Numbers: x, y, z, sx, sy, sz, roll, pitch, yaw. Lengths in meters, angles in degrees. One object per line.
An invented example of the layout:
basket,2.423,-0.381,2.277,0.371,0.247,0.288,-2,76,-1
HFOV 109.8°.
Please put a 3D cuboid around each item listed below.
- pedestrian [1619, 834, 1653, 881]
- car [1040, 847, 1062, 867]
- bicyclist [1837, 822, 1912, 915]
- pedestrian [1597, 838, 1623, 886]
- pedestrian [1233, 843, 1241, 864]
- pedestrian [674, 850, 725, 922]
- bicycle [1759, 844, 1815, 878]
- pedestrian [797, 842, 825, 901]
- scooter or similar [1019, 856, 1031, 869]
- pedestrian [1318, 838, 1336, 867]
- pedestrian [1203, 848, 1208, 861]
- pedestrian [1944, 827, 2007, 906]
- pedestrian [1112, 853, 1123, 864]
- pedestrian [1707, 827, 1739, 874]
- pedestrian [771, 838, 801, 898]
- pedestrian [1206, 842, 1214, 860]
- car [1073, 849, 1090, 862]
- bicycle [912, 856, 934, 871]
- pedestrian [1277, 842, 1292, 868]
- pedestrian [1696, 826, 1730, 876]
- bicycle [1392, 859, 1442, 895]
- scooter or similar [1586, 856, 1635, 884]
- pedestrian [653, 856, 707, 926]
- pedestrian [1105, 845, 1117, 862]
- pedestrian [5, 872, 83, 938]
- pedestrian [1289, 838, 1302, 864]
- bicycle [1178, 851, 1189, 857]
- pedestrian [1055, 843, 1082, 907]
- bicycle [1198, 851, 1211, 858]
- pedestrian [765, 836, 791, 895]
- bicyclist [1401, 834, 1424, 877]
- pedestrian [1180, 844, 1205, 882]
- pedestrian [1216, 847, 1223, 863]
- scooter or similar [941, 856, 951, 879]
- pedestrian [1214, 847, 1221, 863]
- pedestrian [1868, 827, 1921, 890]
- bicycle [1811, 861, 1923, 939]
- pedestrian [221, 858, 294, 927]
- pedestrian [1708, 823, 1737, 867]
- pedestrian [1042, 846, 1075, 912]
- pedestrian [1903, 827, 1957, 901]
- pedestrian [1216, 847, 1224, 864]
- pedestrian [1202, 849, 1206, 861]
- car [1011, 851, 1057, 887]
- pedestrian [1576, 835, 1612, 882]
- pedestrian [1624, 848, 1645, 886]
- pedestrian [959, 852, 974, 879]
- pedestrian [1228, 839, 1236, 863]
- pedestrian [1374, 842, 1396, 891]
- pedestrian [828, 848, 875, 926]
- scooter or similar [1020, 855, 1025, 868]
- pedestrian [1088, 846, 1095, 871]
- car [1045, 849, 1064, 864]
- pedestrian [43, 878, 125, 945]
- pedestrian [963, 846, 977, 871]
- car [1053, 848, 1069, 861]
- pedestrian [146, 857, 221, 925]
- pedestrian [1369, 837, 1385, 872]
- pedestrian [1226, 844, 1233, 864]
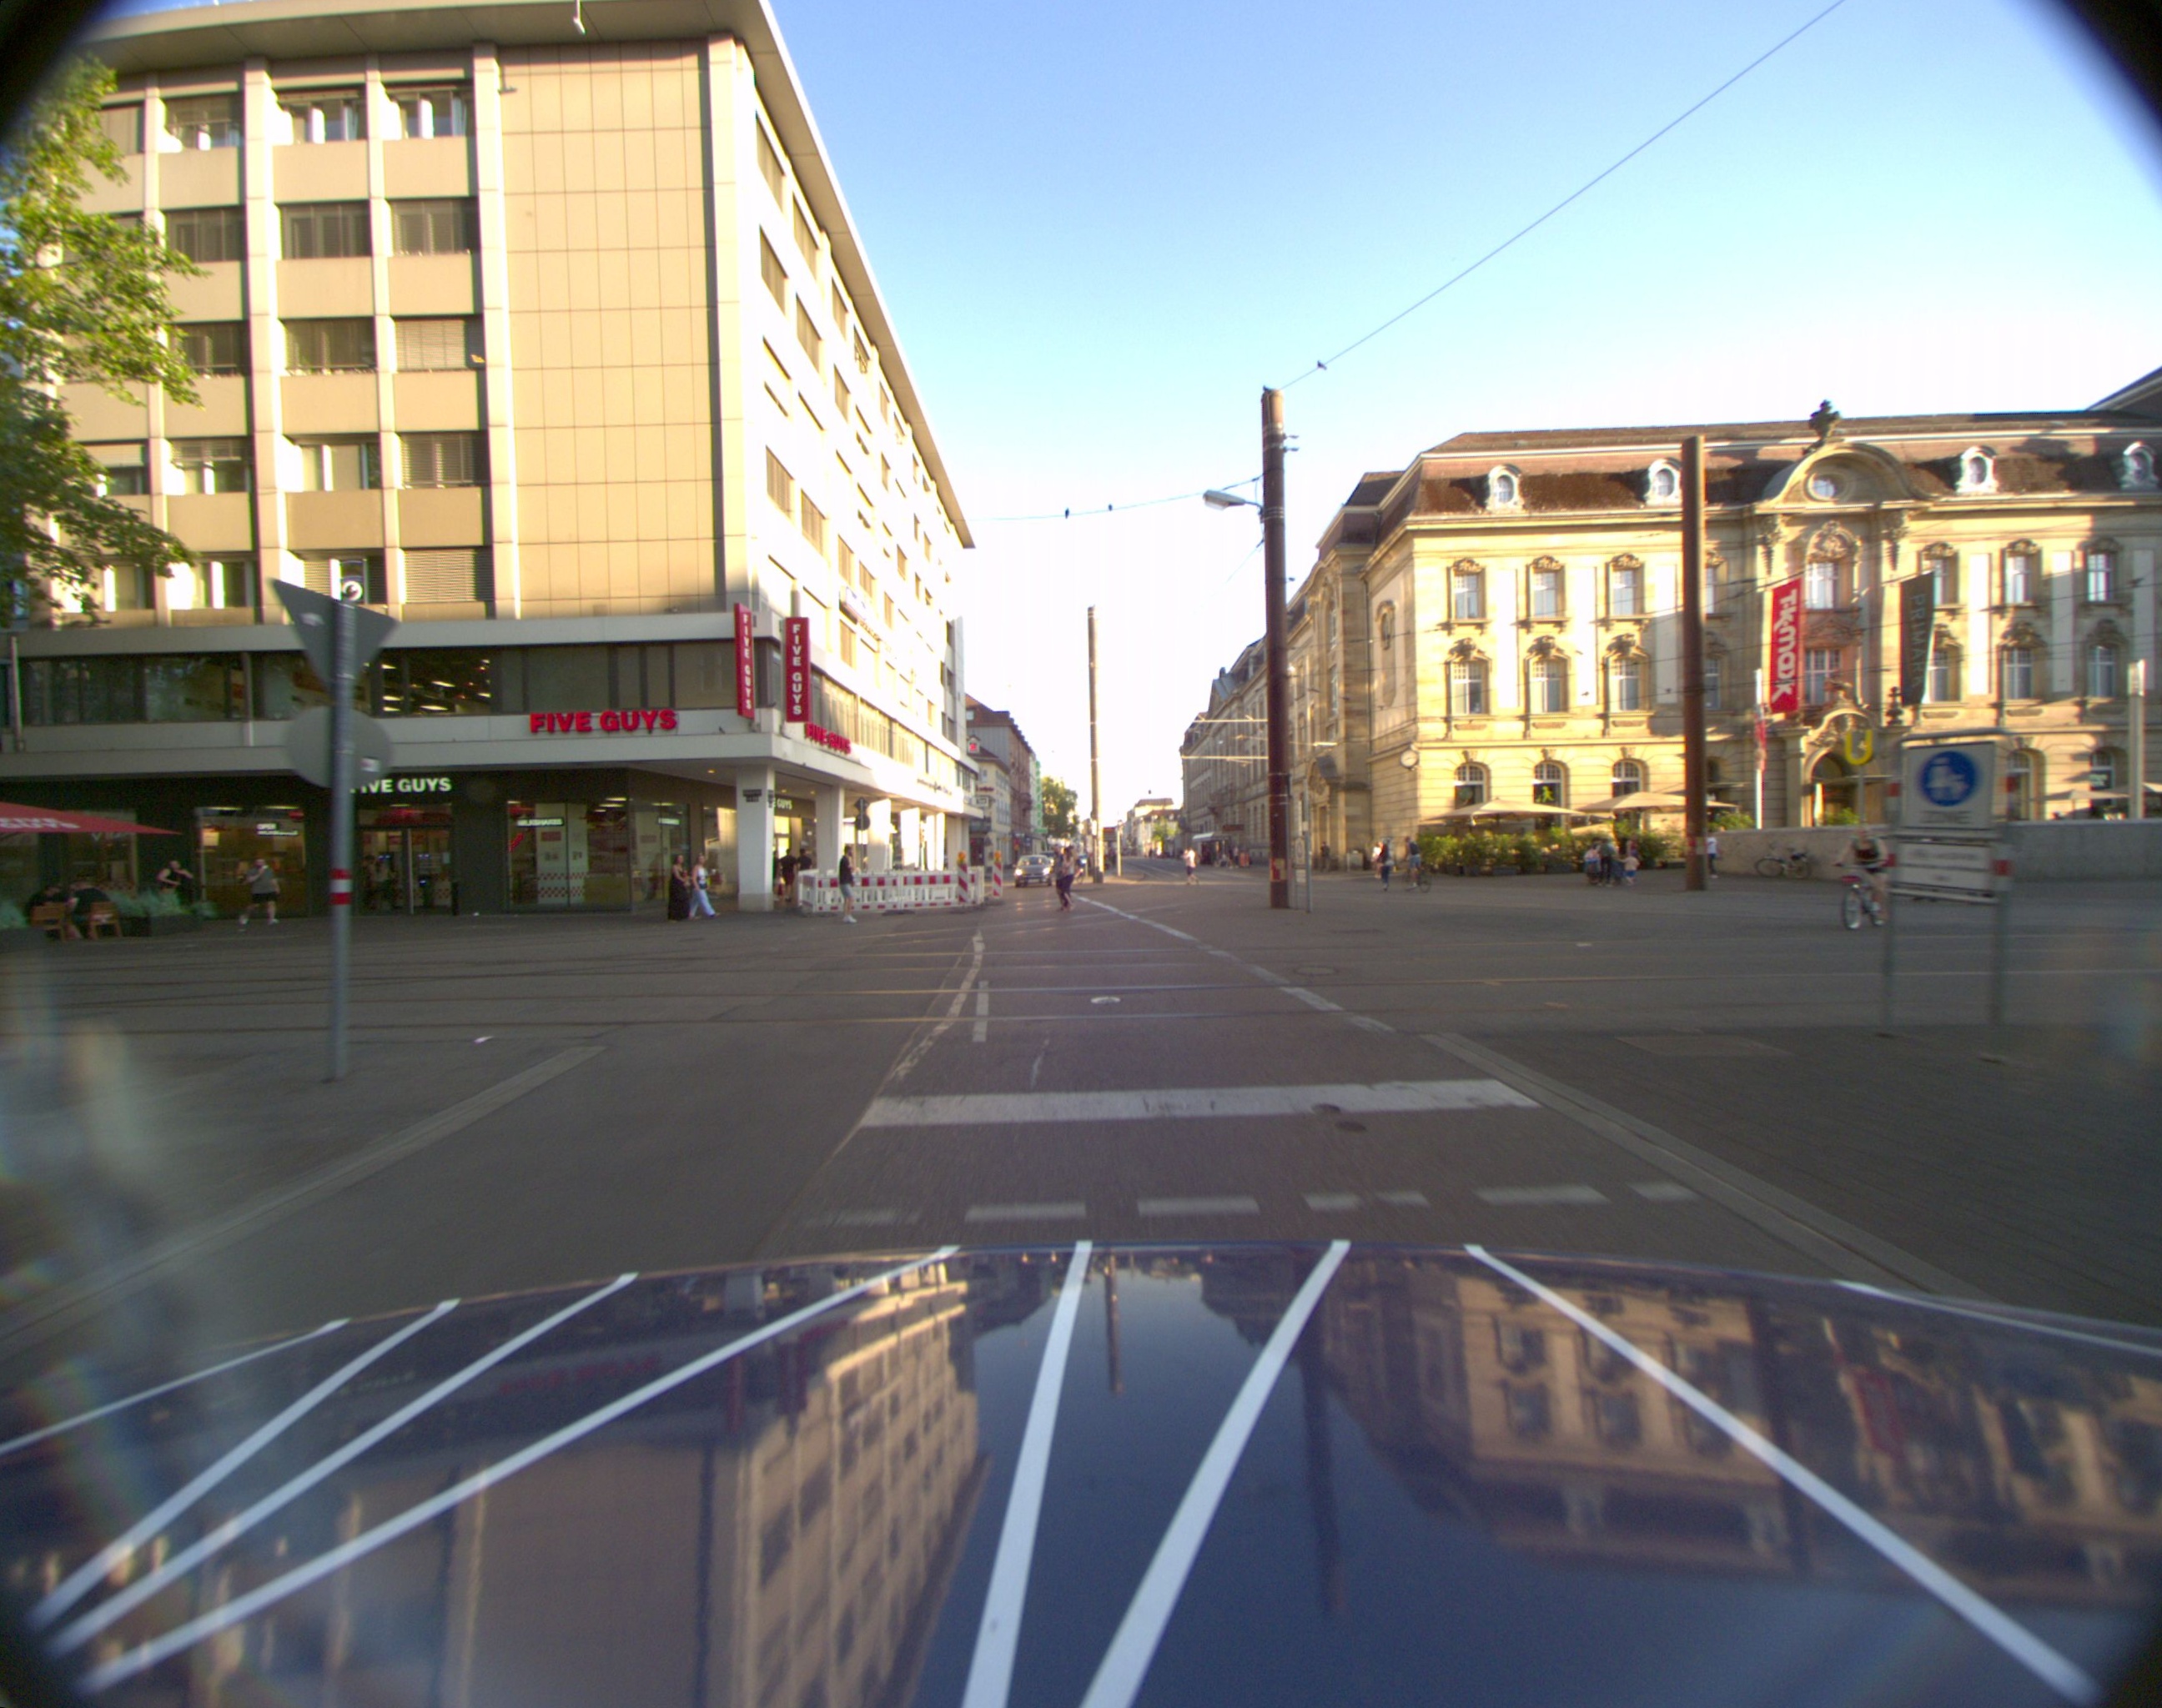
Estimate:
pedestrian,19.489,0.131,26.685,0.773,1.605,0.666,-2,1,-24
car,-3.162,0.305,80.031,1.881,1.912,4.699,-4,1,1
bicyclist,13.110,0.222,12.555,0.875,1.457,0.598,-3,1,-26
pedestrian,17.370,0.264,24.958,0.649,1.564,0.481,-1,1,30
pedestrian,12.462,-0.036,60.684,0.519,1.636,0.638,-2,2,5
pedestrian,-9.622,0.792,19.205,0.790,1.725,0.772,-3,1,1
bicycle,23.349,0.212,25.155,0.450,1.079,1.581,-3,1,4
pedestrian,-9.294,0.598,26.153,0.707,2.002,0.471,-2,1,-3
scooter or similar,-5.050,0.765,68.394,1.049,1.227,0.271,-1,2,-30
pedestrian,13.679,-0.083,42.254,0.690,1.619,0.972,-2,1,0
pedestrian,11.976,0.050,73.059,0.365,1.193,0.430,-3,1,7
pedestrian,19.518,0.264,16.591,0.529,1.664,0.754,-1,1,8
pedestrian,3.332,0.398,69.571,0.798,0.934,0.694,-2,1,24
pedestrian,23.800,-0.147,28.184,0.499,1.696,0.719,-3,2,-16
pedestrian,-10.161,0.480,26.174,0.781,2.002,0.517,-3,1,-8
pedestrian,11.836,-0.251,69.689,0.518,1.641,0.639,-1,2,24
car,0.072,0.164,90.280,1.810,1.474,4.283,-4,0,1
bicycle,-13.778,0.812,66.490,0.770,1.174,1.850,-2,1,32
pedestrian,12.665,0.050,47.283,0.701,1.605,0.630,-3,1,0
pedestrian,22.174,-0.117,26.664,0.499,1.696,0.719,-3,2,-16
bicycle,11.179,0.753,25.354,0.574,1.092,2.021,-3,1,-6
scooter or similar,17.848,0.519,25.639,1.098,0.899,0.888,-2,1,-21
pedestrian,-9.711,0.887,18.417,0.826,1.621,0.713,-3,1,1
pedestrian,2.948,-0.075,74.617,0.686,1.628,0.863,-1,1,42
pedestrian,-22.640,1.103,16.604,0.644,1.361,0.690,-3,1,1
pedestrian,14.618,-0.207,51.731,0.622,1.766,0.706,-2,1,-2
bicycle,16.367,-0.027,121.302,1.579,0.869,0.451,-3,1,6
pedestrian,-0.317,0.519,19.322,0.571,1.584,0.448,-2,1,-10
bicycle,15.980,0.075,98.557,1.579,0.869,0.451,-3,1,6
pedestrian,-10.662,0.405,26.724,0.705,2.002,0.472,-1,2,43
bicyclist,11.153,0.055,25.562,0.422,1.419,0.563,-3,1,-6
pedestrian,4.907,0.405,33.585,0.804,1.619,0.834,-2,1,-12
pedestrian,11.688,0.113,64.210,0.519,1.320,0.638,-2,2,5
scooter or similar,-9.024,0.914,50.772,0.314,1.480,1.315,-1,1,1
pedestrian,11.706,0.102,64.978,0.519,1.320,0.638,-2,2,5
pedestrian,21.974,0.120,20.539,0.715,1.664,0.651,-1,1,2
bicycle,12.899,0.716,12.457,1.921,1.109,0.699,-3,1,-26
pedestrian,-20.921,0.960,19.322,0.840,1.684,0.841,-3,1,2
pedestrian,25.160,-0.350,29.814,0.498,1.696,0.720,-3,2,-5
pedestrian,-0.588,0.638,19.838,0.746,1.690,0.609,-2,1,-11
pedestrian,19.417,0.225,17.381,0.529,1.664,0.651,-1,1,8
pedestrian,11.592,0.129,63.342,0.519,1.320,0.638,-2,2,5
pedestrian,11.957,0.108,73.907,0.365,1.096,0.430,-3,1,7
car,-2.161,0.666,35.794,1.738,1.495,4.000,-3,1,2
pedestrian,17.878,0.156,26.467,0.824,1.605,0.692,-2,1,-24
pedestrian,17.959,0.420,24.643,0.483,1.236,0.413,-1,1,29
pedestrian,-7.468,0.743,49.619,0.702,1.683,0.540,-4,2,-35
pedestrian,11.352,-0.219,57.096,0.467,1.766,0.562,-2,1,26
pedestrian,10.345,0.418,25.856,0.649,1.664,0.531,-1,1,25
pedestrian,-5.380,0.761,17.798,0.669,1.759,0.725,-1,2,43
scooter or similar,-5.573,0.687,72.263,0.272,1.227,1.308,0,1,5
pedestrian,0.705,0.276,50.013,0.357,1.632,0.502,-3,1,-1
car,-2.962,0.296,86.823,1.810,1.474,4.778,-4,0,1
pedestrian,-21.638,1.238,16.499,0.778,1.361,0.690,-3,1,1
pedestrian,-8.238,0.336,56.310,0.700,1.805,0.852,-3,1,8
car,-2.599,0.019,100.309,1.736,1.502,4.864,-4,1,1
pedestrian,-23.446,0.958,19.866,0.840,1.684,0.841,-3,1,2
pedestrian,13.017,0.013,33.423,0.501,1.516,0.528,-1,1,39
pedestrian,11.962,-0.002,61.210,0.519,1.560,0.638,-2,2,5
